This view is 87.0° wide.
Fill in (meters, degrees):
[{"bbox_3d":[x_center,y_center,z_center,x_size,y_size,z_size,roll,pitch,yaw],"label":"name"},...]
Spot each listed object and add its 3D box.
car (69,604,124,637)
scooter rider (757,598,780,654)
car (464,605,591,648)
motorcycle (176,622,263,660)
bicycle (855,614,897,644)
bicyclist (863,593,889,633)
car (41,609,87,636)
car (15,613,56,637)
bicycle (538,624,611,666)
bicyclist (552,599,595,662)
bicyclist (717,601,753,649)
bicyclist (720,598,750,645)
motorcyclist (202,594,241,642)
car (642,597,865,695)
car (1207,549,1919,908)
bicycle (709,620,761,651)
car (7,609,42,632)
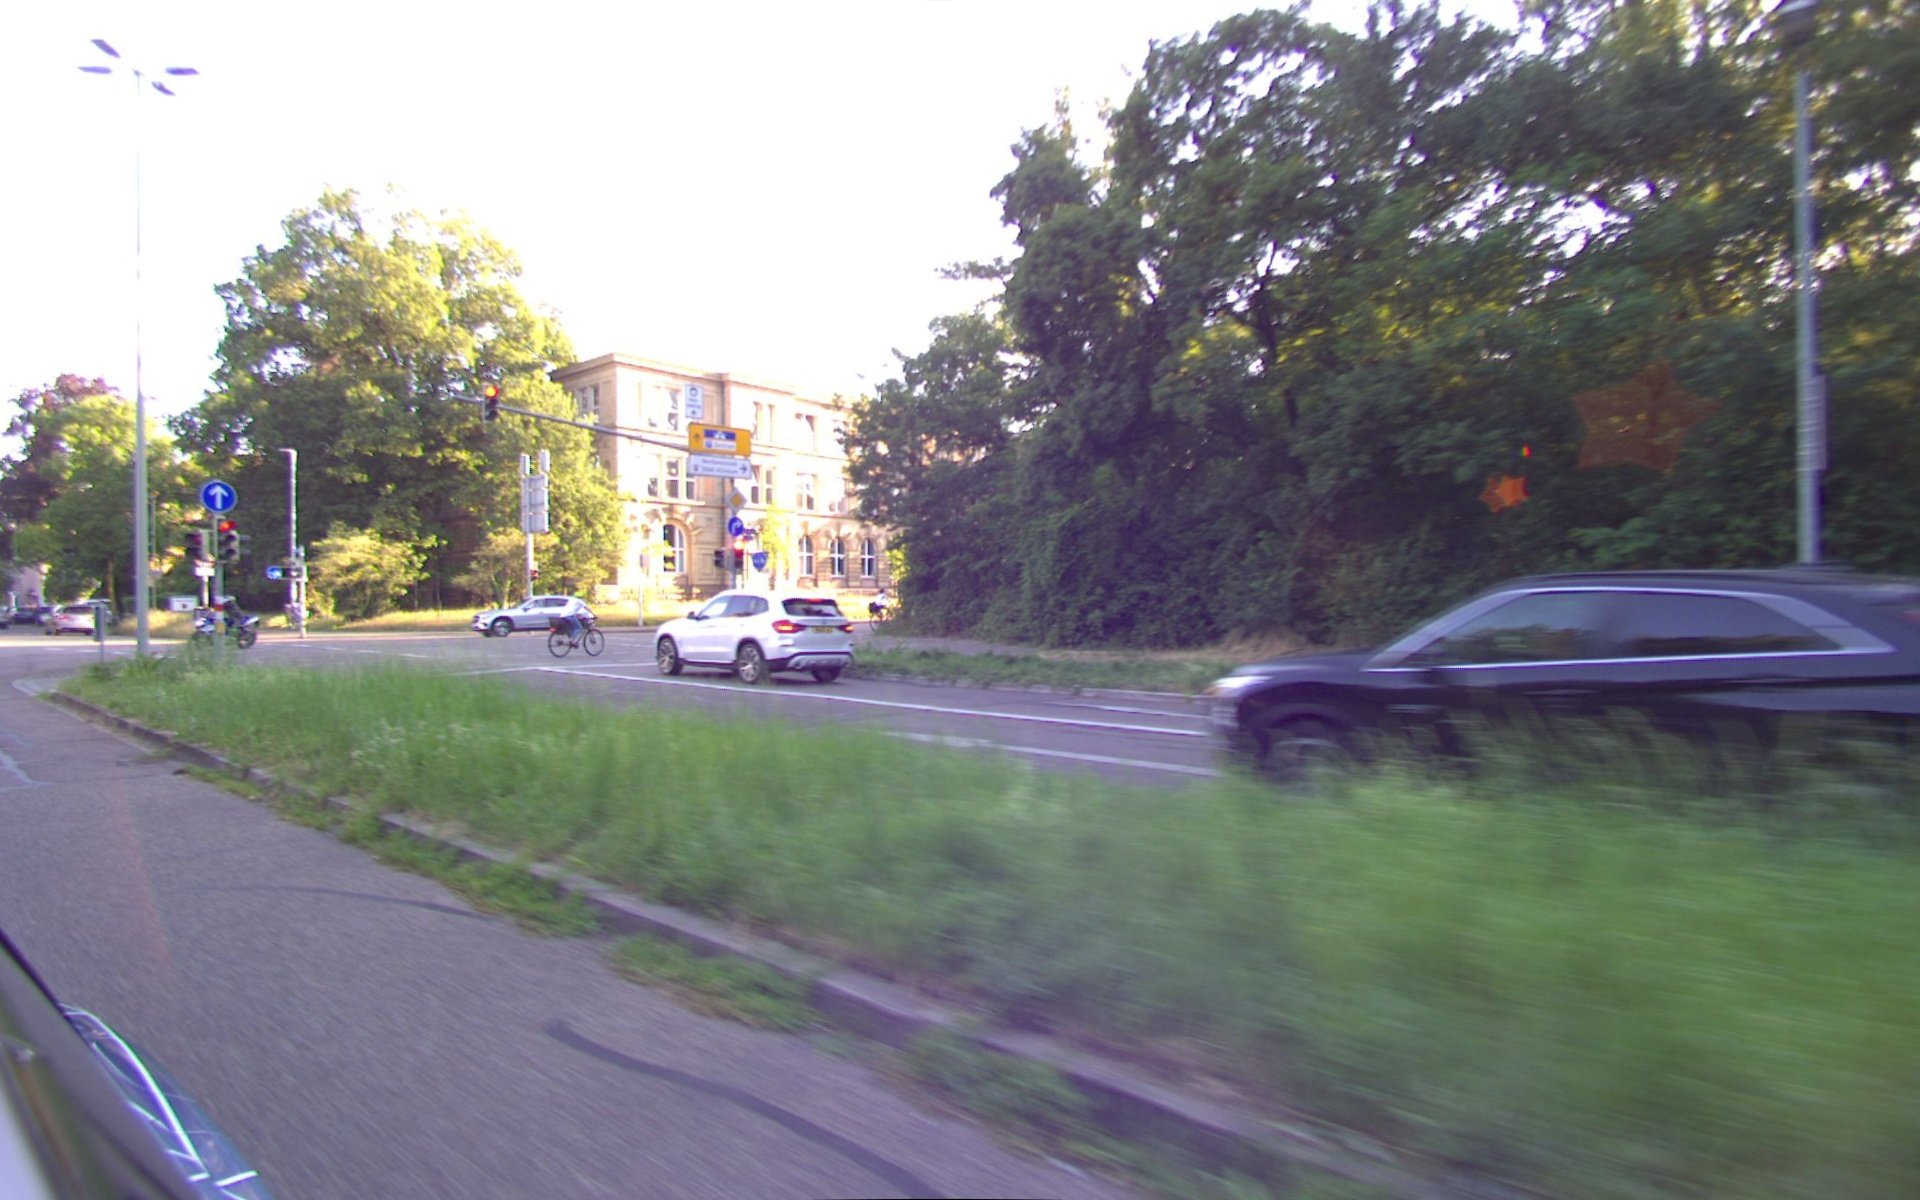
[{"bbox_3d":[-50.838,1.196,59.569,4.118,1.859,1.837,-1,-1,41],"label":"car"},{"bbox_3d":[-6.176,0.837,32.614,0.567,1.780,0.498,-1,-1,42],"label":"scooter rider"},{"bbox_3d":[-17.635,1.029,41.364,4.442,1.648,1.773,0,-1,-41],"label":"car"},{"bbox_3d":[-21.139,1.149,28.920,0.754,1.009,1.858,-1,-1,32],"label":"motorcycle"},{"bbox_3d":[-3.446,1.181,41.709,0.615,1.146,1.858,0,1,41],"label":"bicycle"},{"bbox_3d":[-3.463,0.531,41.708,0.605,1.598,0.897,0,0,41],"label":"bicyclist"},{"bbox_3d":[-59.188,1.447,66.819,4.000,1.719,1.910,-1,-1,43],"label":"car"},{"bbox_3d":[-67.050,1.795,73.388,4.000,1.655,1.910,-1,-1,43],"label":"car"},{"bbox_3d":[-9.895,1.141,26.020,0.563,1.022,1.782,-1,-1,32],"label":"bicycle"},{"bbox_3d":[-9.917,0.779,25.992,0.554,1.581,0.889,-1,-1,33],"label":"bicyclist"},{"bbox_3d":[-7.311,0.805,32.912,0.759,1.529,0.847,0,0,31],"label":"bicyclist"},{"bbox_3d":[-8.195,0.761,36.846,0.700,1.679,0.787,1,0,41],"label":"bicyclist"},{"bbox_3d":[-21.127,0.511,28.956,0.749,1.368,0.696,-1,-1,33],"label":"motorcyclist"},{"bbox_3d":[-3.988,0.815,19.026,4.643,1.625,1.801,-1,-3,44],"label":"car"},{"bbox_3d":[3.953,0.619,6.156,4.447,1.640,1.796,-1,-2,40],"label":"car"},{"bbox_3d":[-8.181,1.270,36.869,0.700,1.071,1.800,0,0,40],"label":"bicycle"},{"bbox_3d":[-76.508,1.655,82.752,4.000,1.741,1.774,1,1,43],"label":"car"}]
